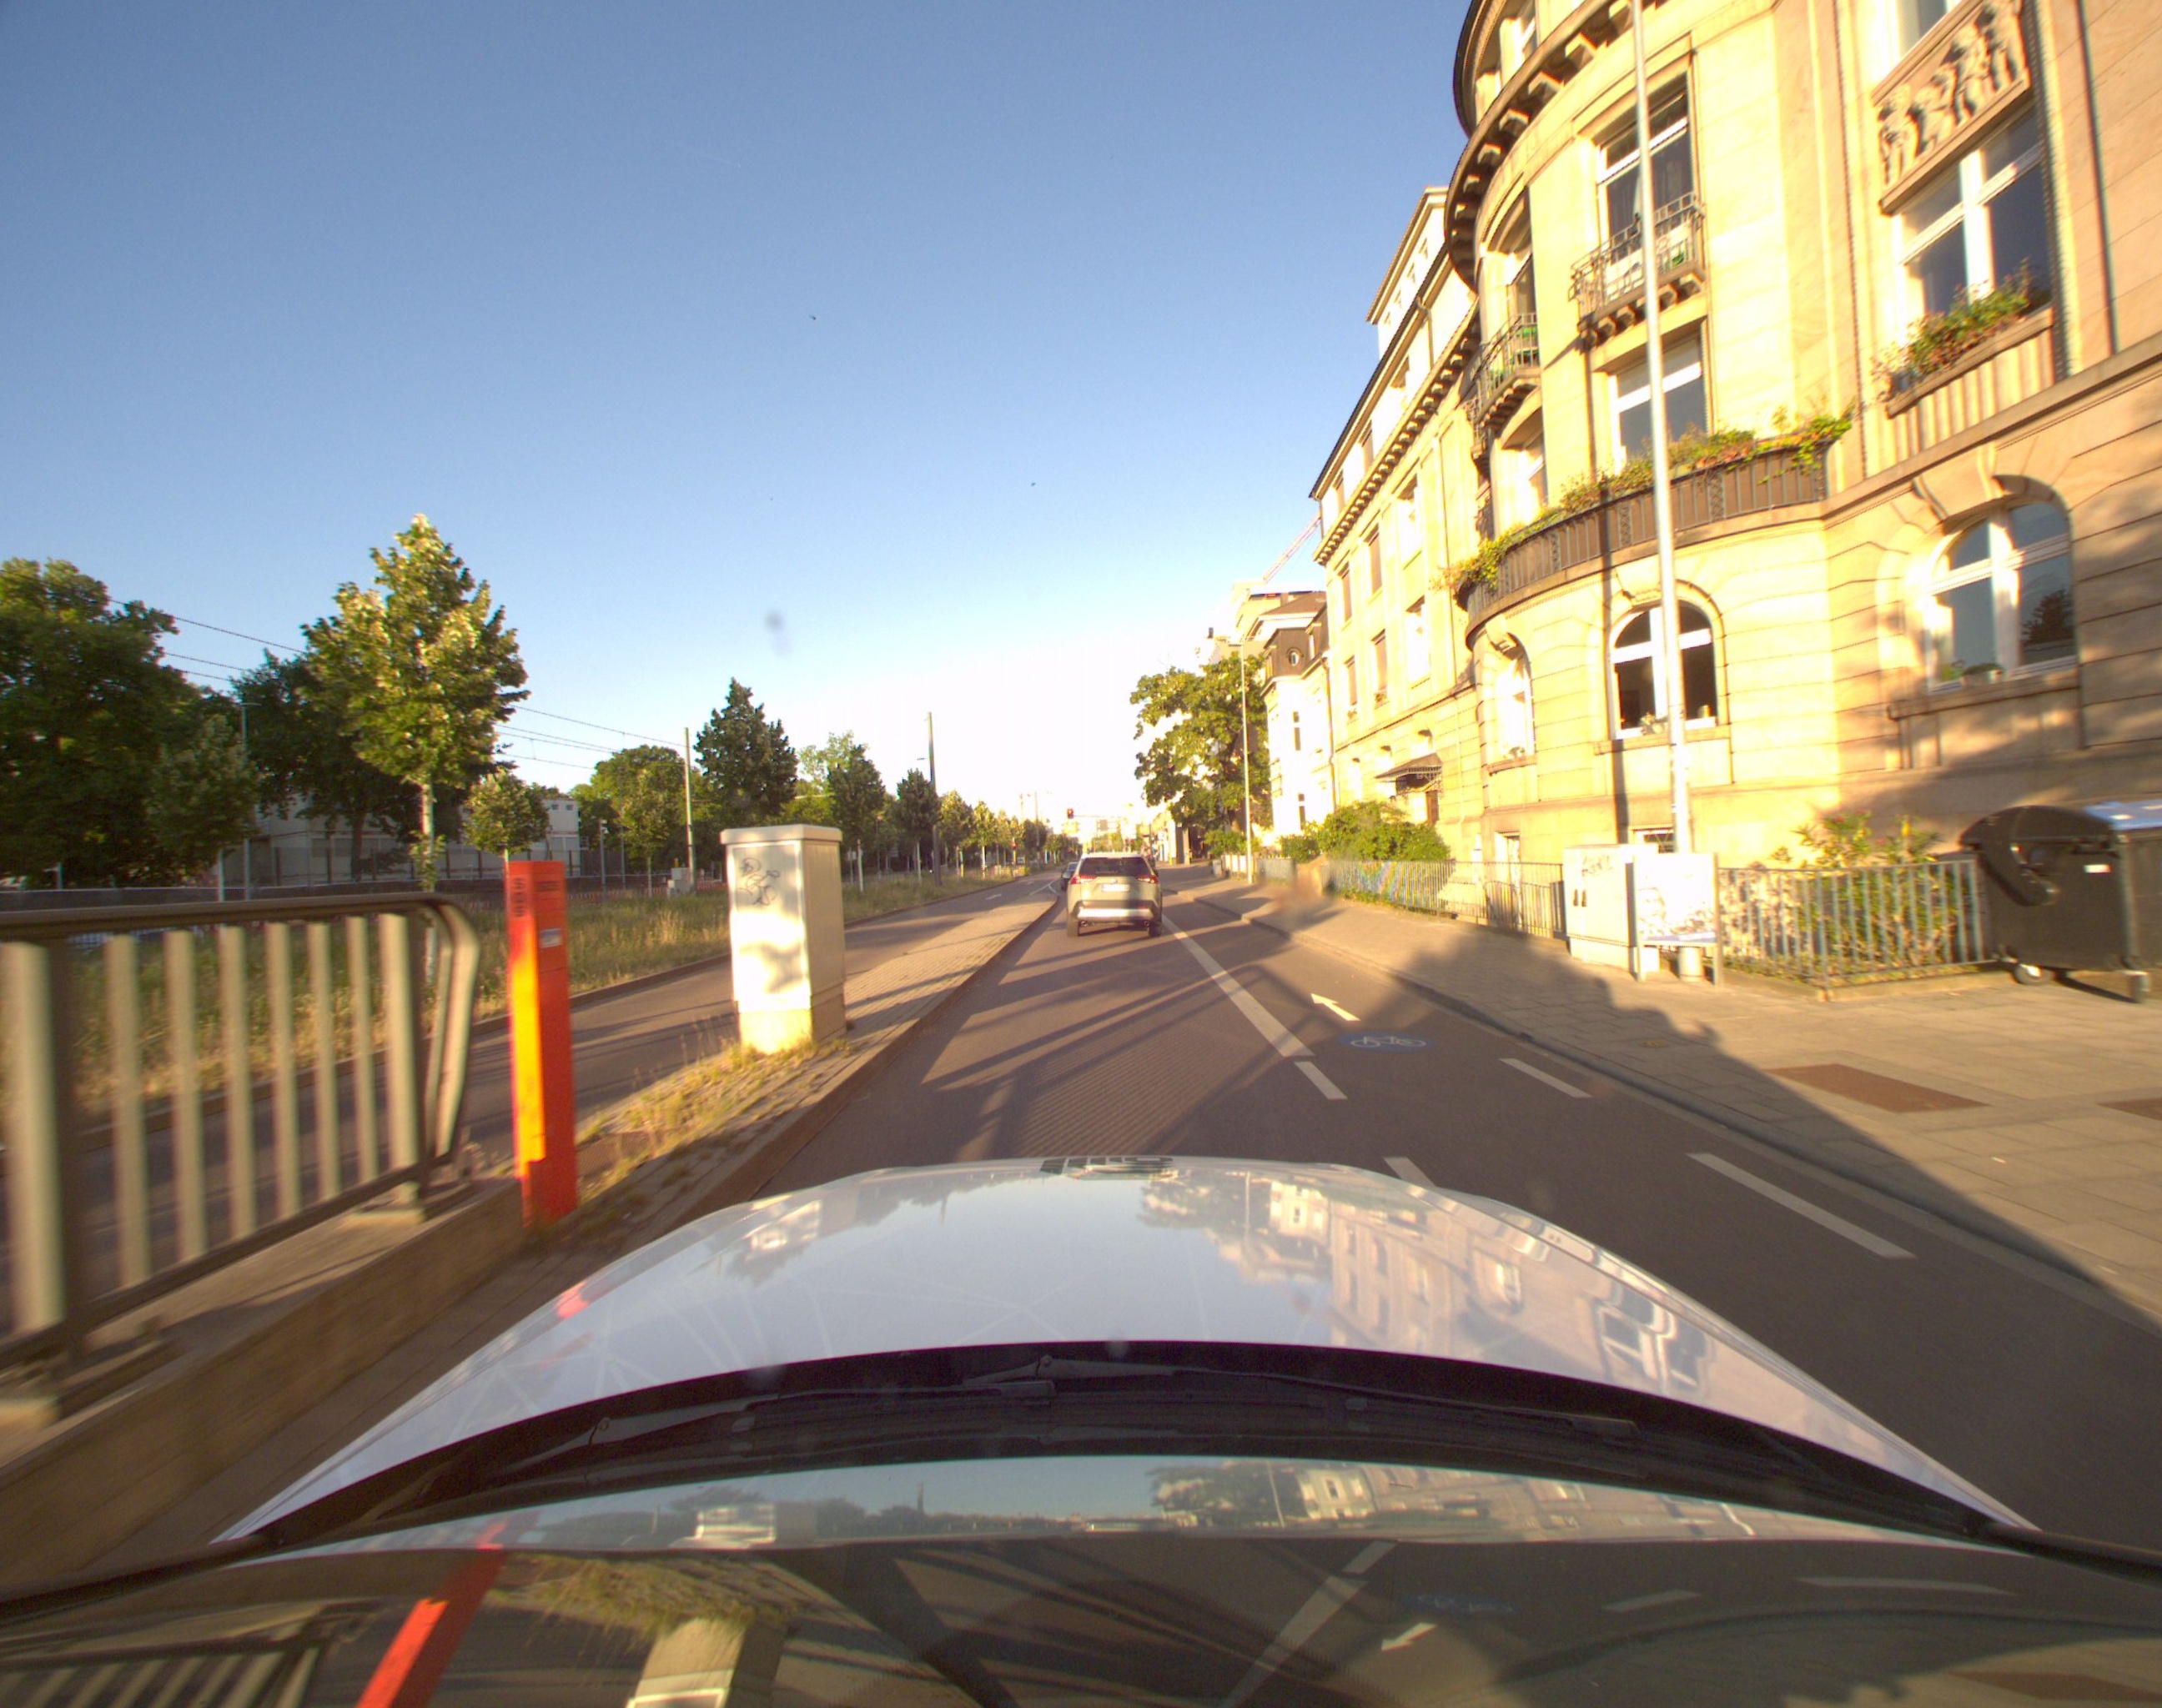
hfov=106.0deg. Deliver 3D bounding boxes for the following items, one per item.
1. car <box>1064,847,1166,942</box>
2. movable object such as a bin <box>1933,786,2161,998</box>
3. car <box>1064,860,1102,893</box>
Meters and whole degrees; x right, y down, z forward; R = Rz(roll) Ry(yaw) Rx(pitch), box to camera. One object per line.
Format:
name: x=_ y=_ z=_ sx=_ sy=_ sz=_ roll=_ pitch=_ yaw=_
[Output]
car: x=0.636 y=0.755 z=17.143 sx=1.852 sy=1.714 sz=4.192 roll=-1 pitch=0 yaw=0
movable object such as a bin: x=7.783 y=0.249 z=6.255 sx=1.256 sy=1.462 sz=1.123 roll=-2 pitch=0 yaw=-2
car: x=0.109 y=1.105 z=41.789 sx=1.852 sy=1.551 sz=4.109 roll=-1 pitch=0 yaw=0
